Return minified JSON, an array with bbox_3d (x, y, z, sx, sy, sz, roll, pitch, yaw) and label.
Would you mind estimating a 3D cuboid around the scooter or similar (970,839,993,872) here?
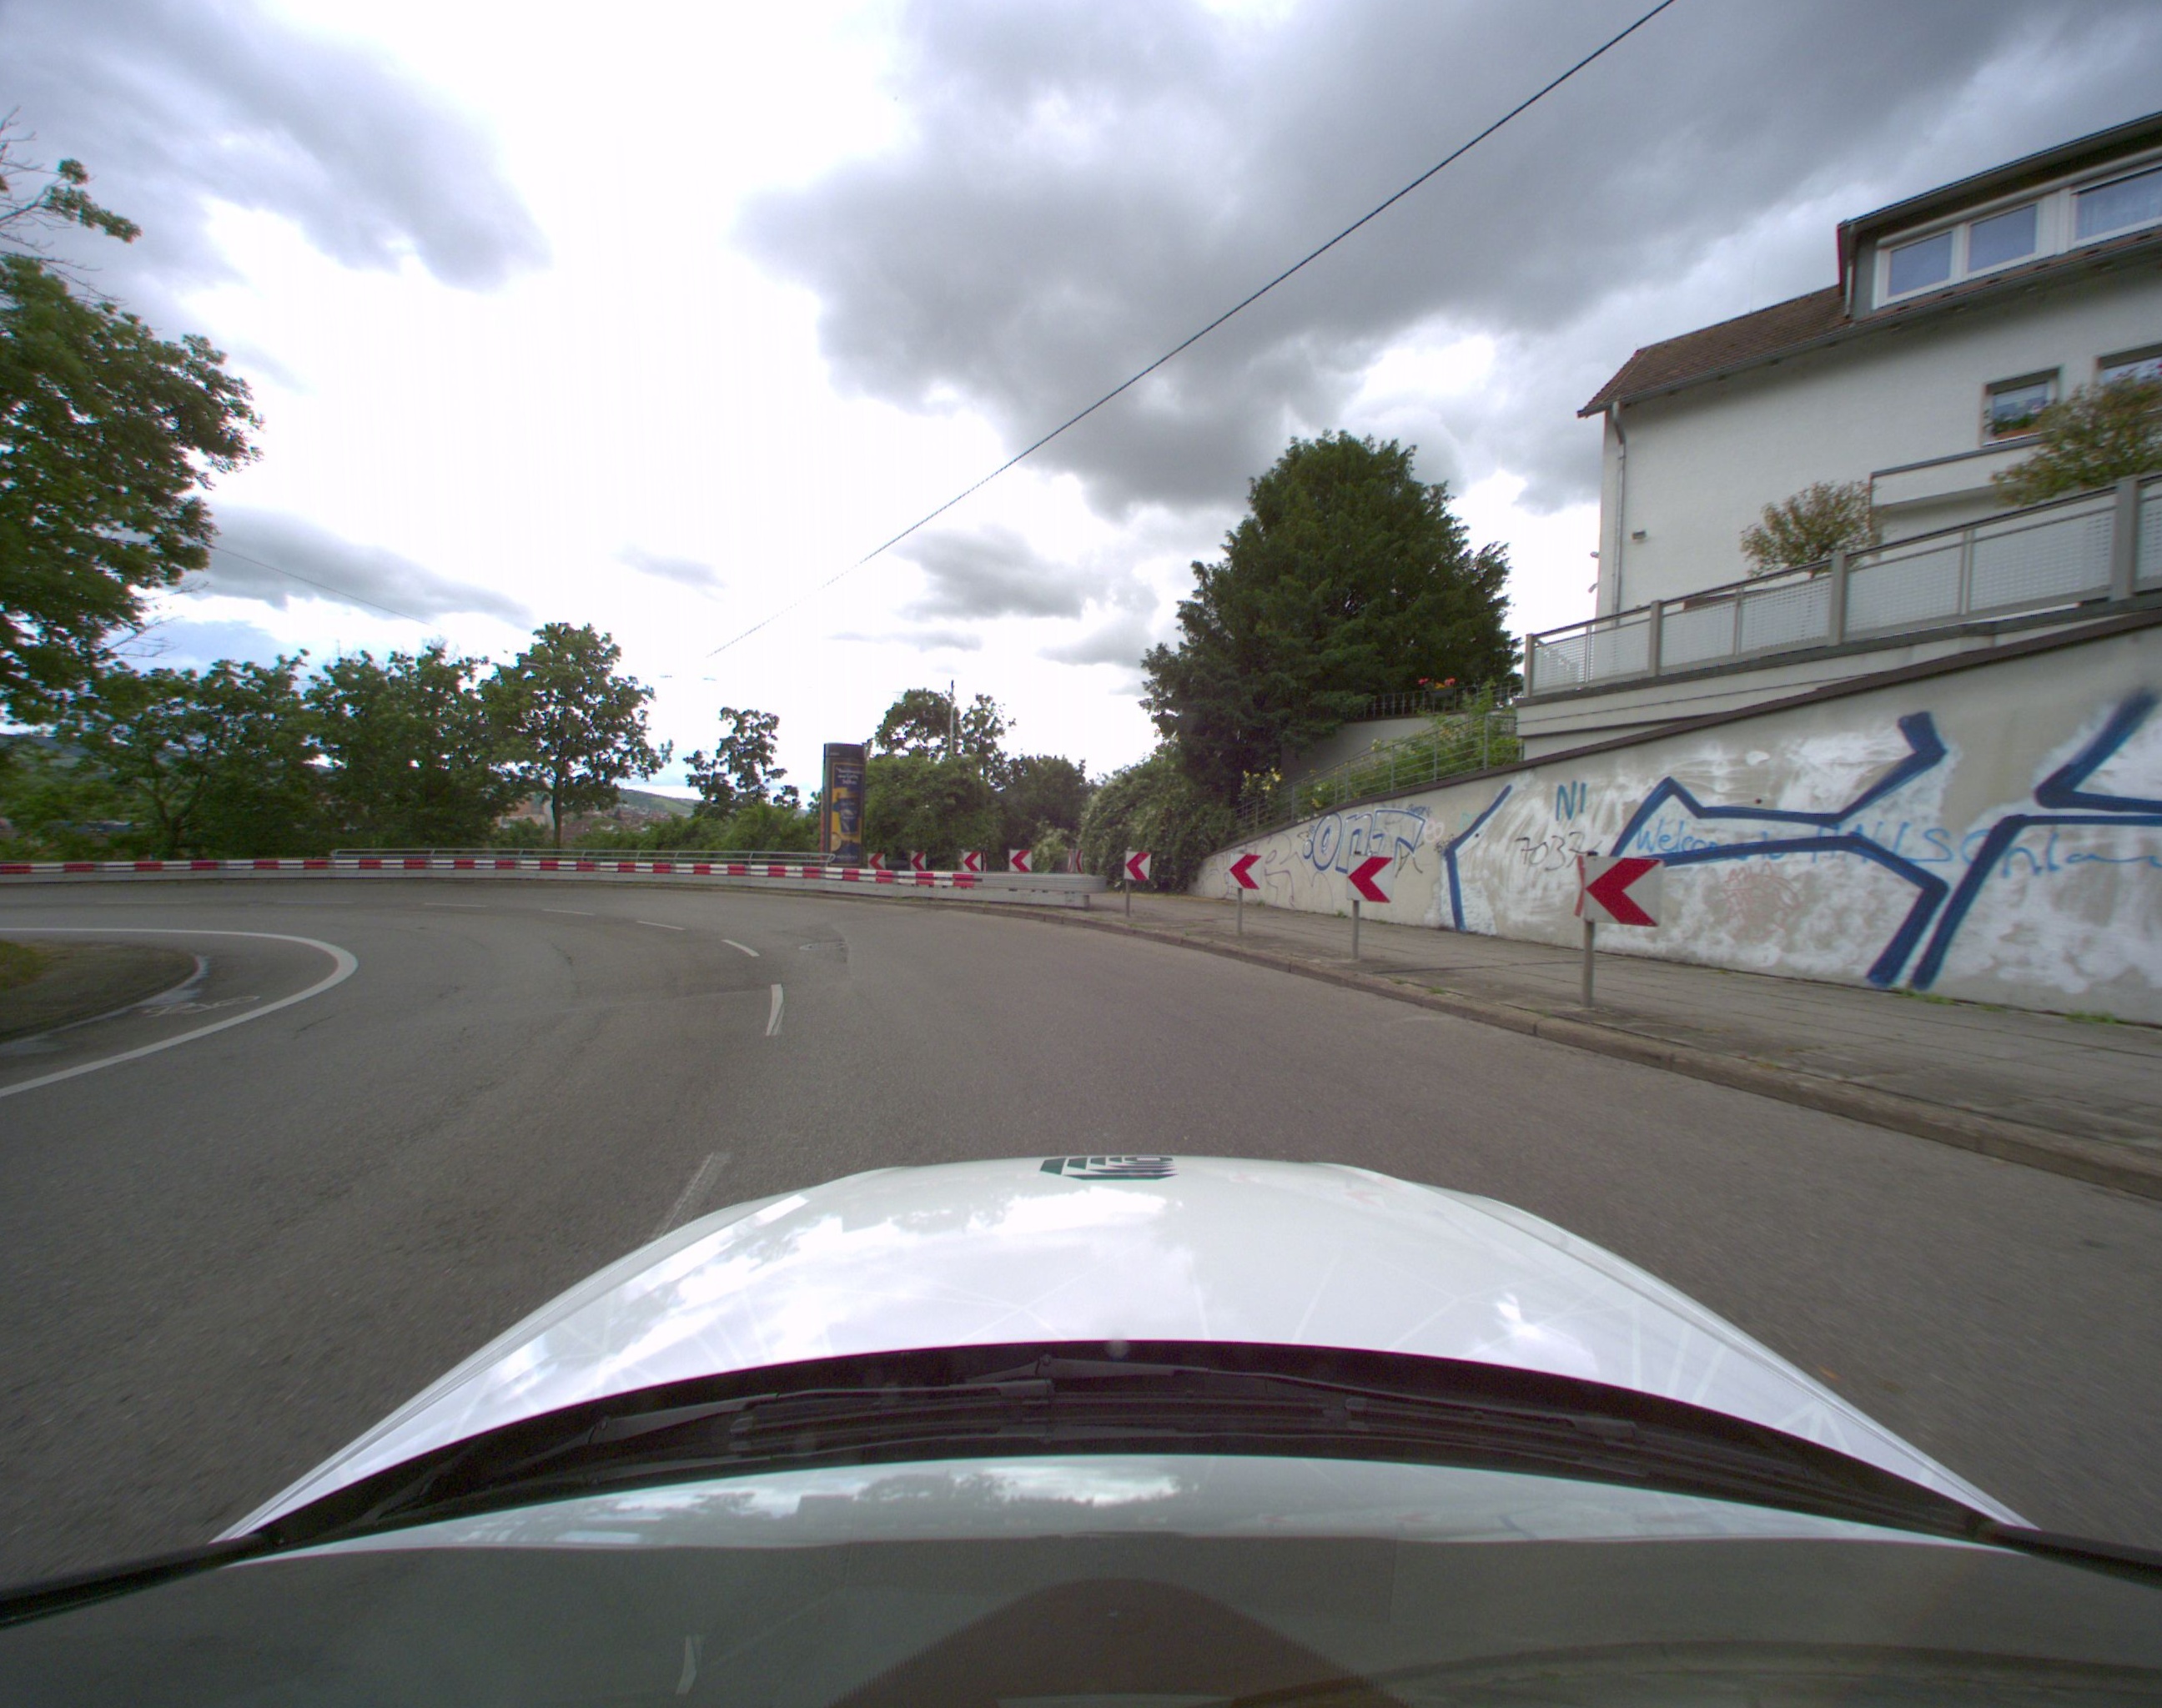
[{"bbox_3d":[-3.775,0.041,31.104,0.432,1.250,1.506,1,1,10],"label":"scooter or similar"}]
